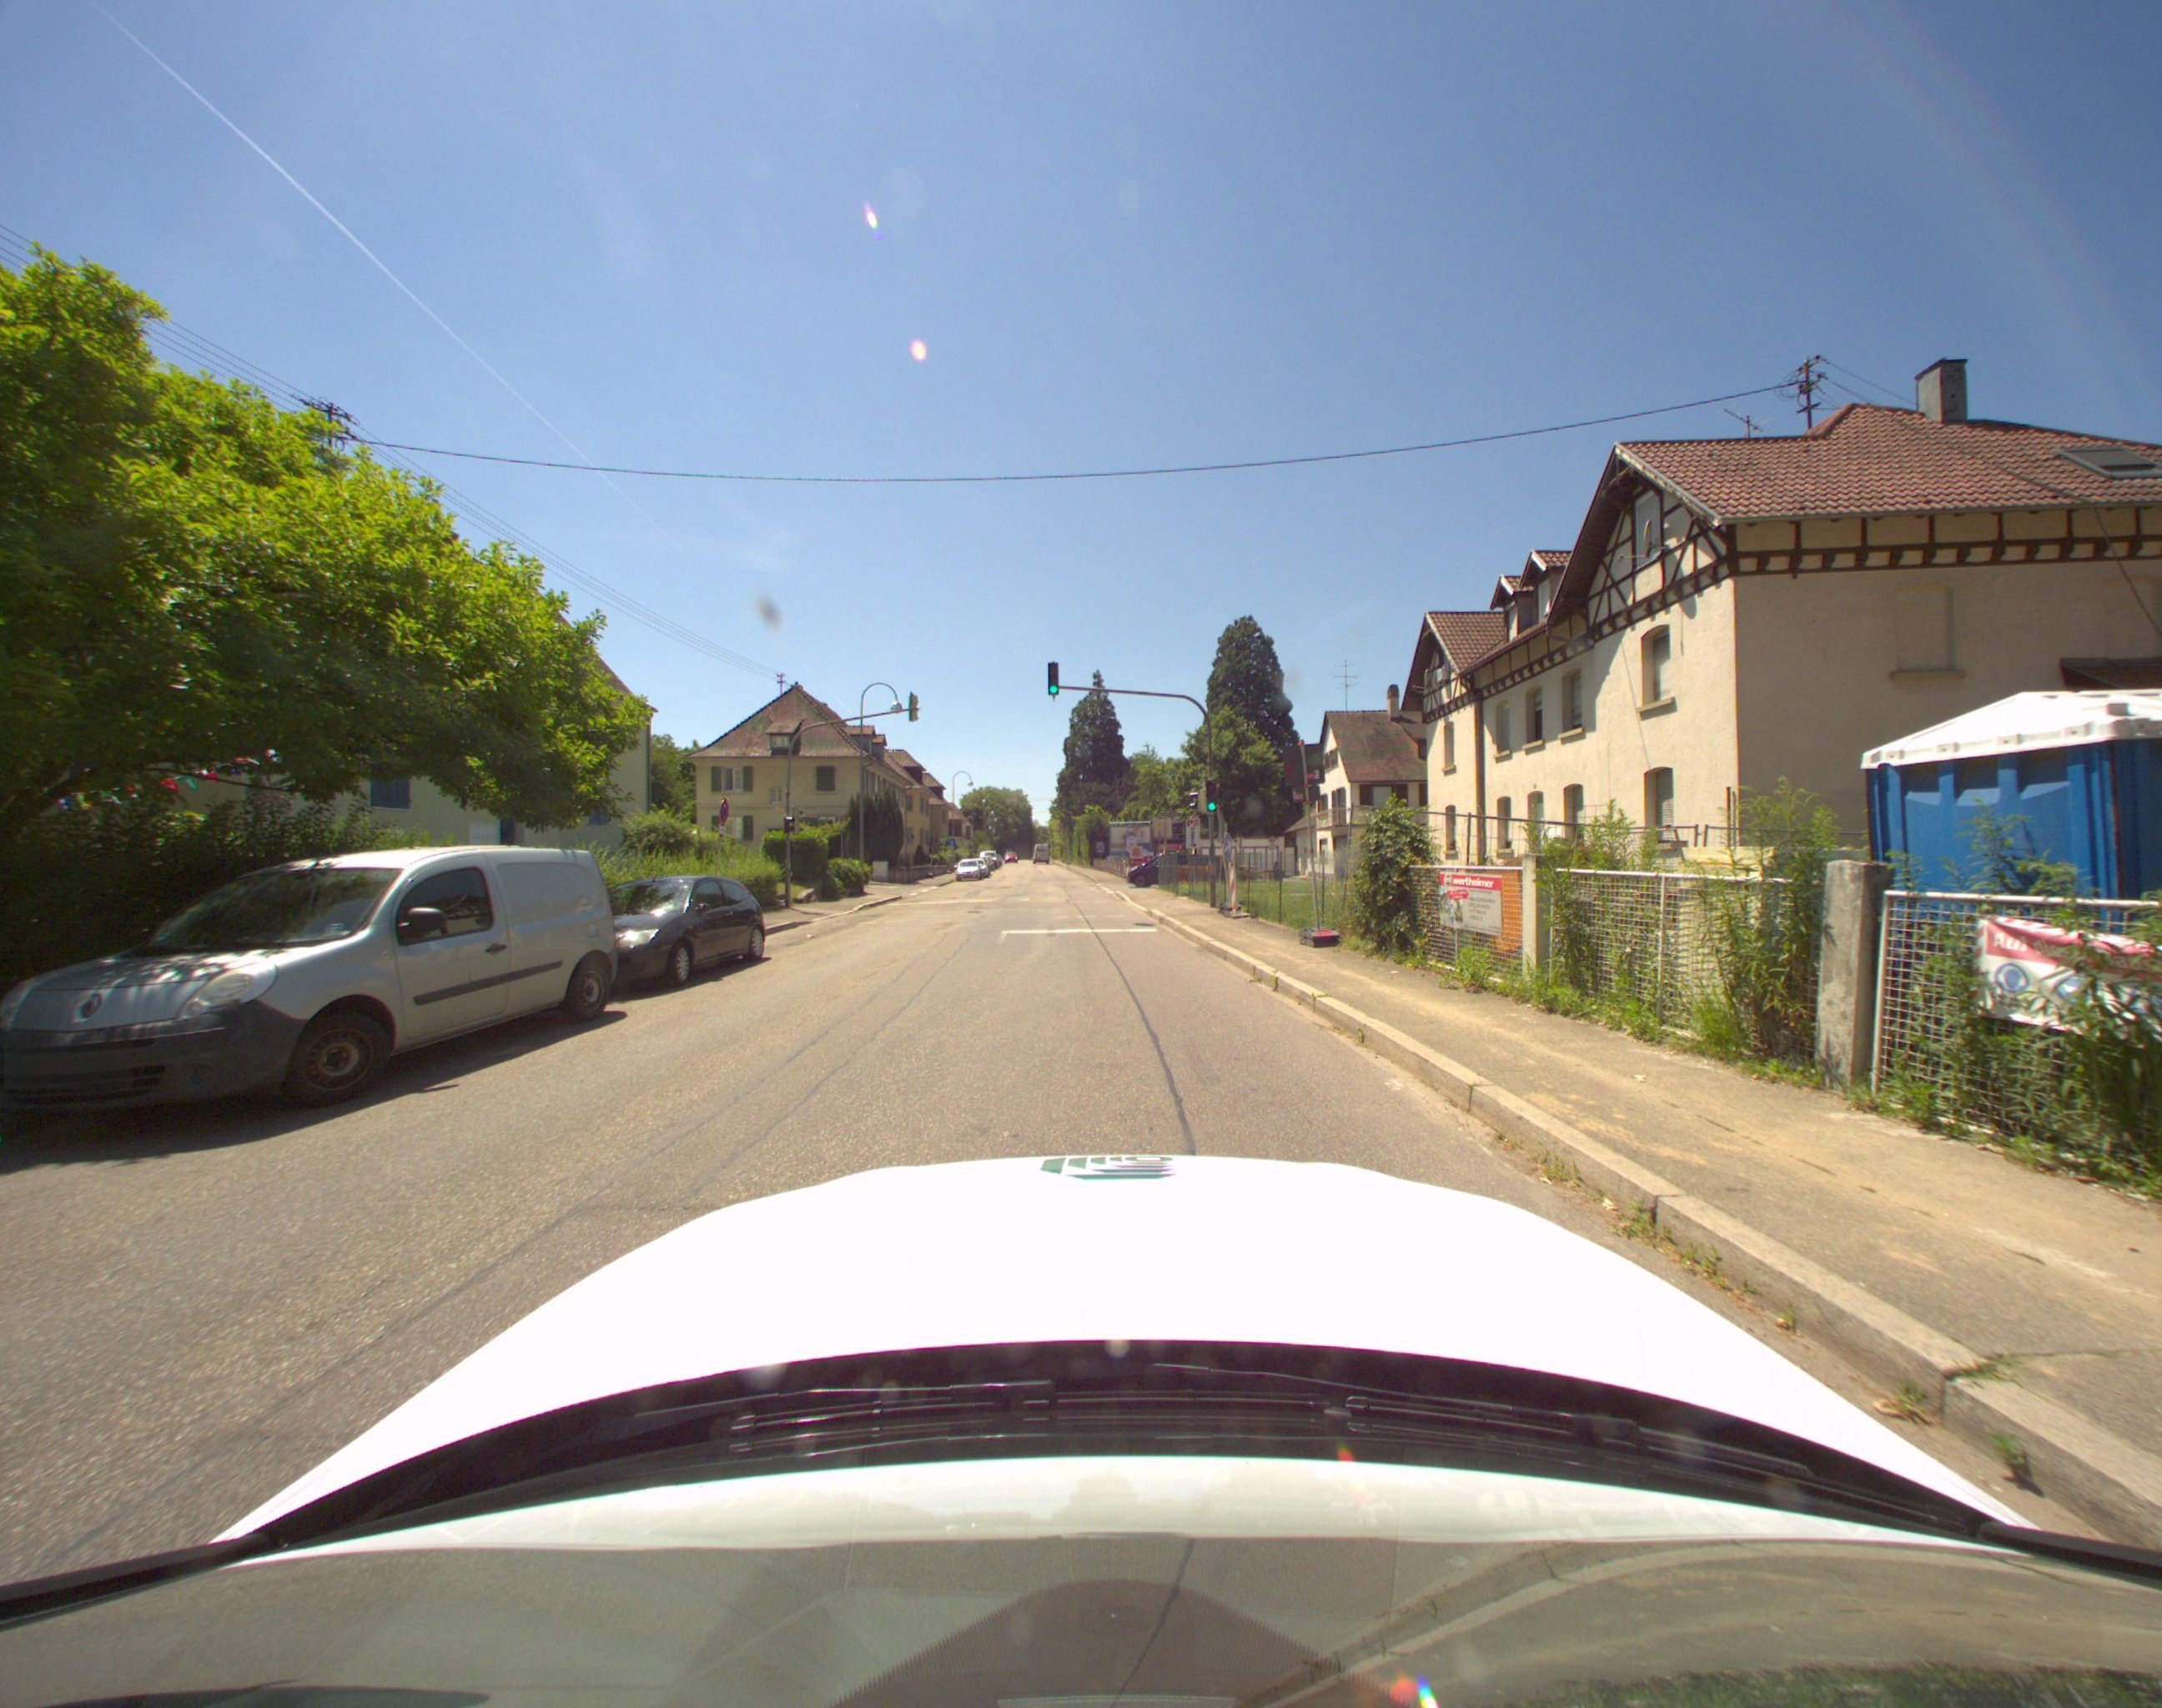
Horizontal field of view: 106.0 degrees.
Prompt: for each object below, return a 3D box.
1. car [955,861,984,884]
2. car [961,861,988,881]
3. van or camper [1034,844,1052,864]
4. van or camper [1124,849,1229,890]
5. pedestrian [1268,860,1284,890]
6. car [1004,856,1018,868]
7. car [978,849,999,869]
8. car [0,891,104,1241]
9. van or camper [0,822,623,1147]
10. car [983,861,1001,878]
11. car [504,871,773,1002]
[{"bbox_3d":[-7.601,1.256,55.730,1.756,1.447,3.917,-2,0,-5],"label":"car"},{"bbox_3d":[-7.922,1.223,60.786,1.792,1.402,4.211,-2,0,-5],"label":"car"},{"bbox_3d":[-5.100,-0.026,108.563,2.258,2.528,4.753,-2,0,-4],"label":"van or camper"},{"bbox_3d":[4.953,0.784,42.147,5.223,2.014,1.913,0,0,8],"label":"van or camper"},{"bbox_3d":[10.638,1.158,44.421,0.694,1.600,0.572,-1,-1,-4],"label":"pedestrian"},{"bbox_3d":[-9.593,1.078,112.230,1.811,1.566,3.691,-2,0,-4],"label":"car"},{"bbox_3d":[-9.721,0.538,85.804,1.874,1.963,4.619,-3,0,-4],"label":"car"},{"bbox_3d":[-5.435,0.911,1.643,1.674,1.441,4.249,-2,0,2],"label":"car"},{"bbox_3d":[-5.746,0.763,6.646,1.675,1.804,3.985,-2,0,0],"label":"van or camper"},{"bbox_3d":[-8.650,1.471,79.277,1.684,1.525,4.056,0,0,-5],"label":"car"},{"bbox_3d":[-5.945,1.013,11.542,1.676,1.412,3.924,-2,0,-1],"label":"car"}]
